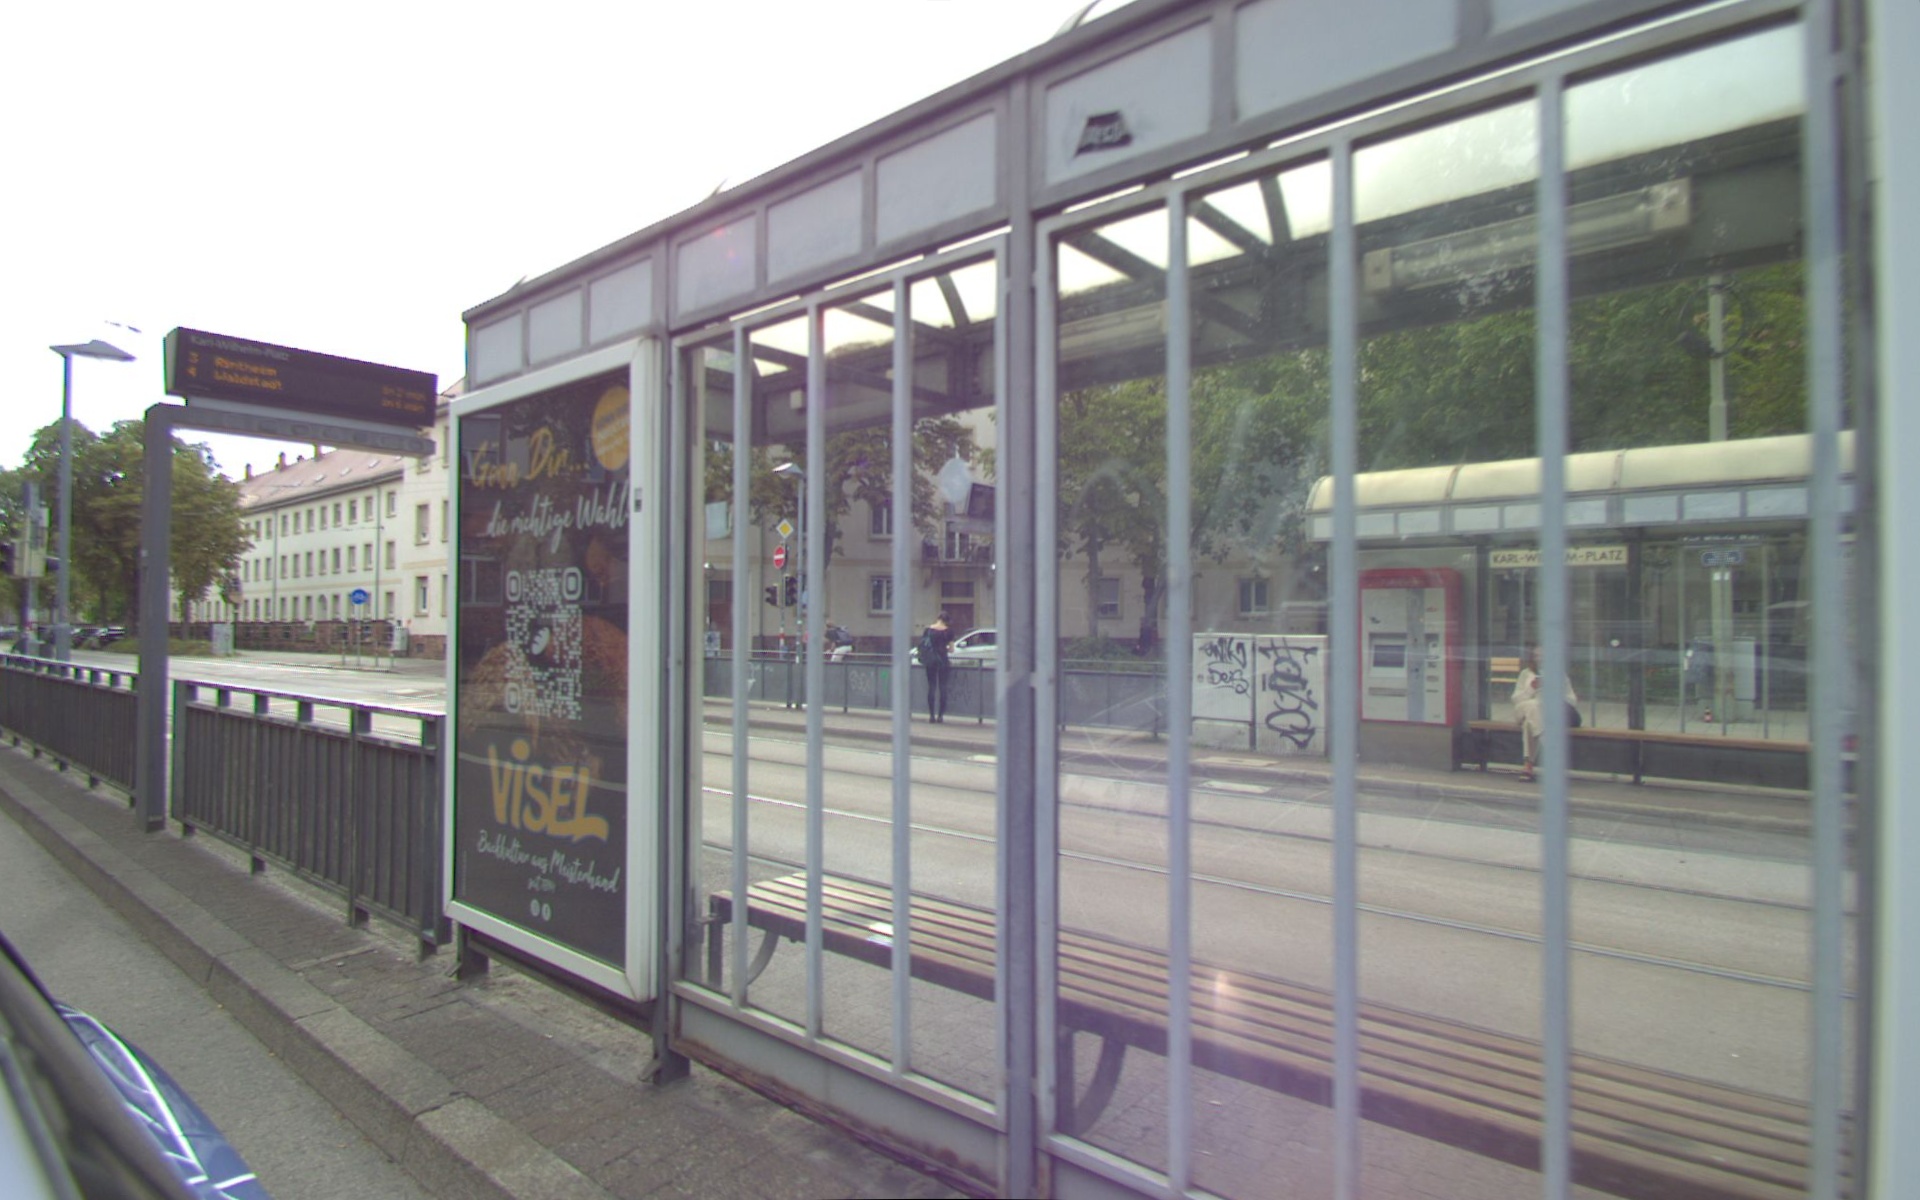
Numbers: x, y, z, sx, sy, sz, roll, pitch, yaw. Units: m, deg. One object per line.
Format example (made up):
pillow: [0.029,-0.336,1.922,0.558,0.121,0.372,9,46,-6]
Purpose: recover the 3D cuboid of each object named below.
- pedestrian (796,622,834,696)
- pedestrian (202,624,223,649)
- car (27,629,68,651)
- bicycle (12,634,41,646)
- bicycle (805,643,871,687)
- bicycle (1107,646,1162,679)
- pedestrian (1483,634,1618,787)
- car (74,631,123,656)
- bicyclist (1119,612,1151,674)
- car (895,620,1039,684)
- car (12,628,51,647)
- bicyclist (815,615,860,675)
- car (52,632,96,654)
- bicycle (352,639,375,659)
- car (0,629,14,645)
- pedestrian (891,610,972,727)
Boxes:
pedestrian: [-3.877,1.559,27.023,0.720,1.915,0.838,1,-3,-31]
pedestrian: [-45.715,2.219,61.902,0.731,1.524,0.825,-1,-3,35]
car: [-69.359,3.037,76.908,4.297,1.624,1.767,-2,-3,41]
bicycle: [-79.567,3.409,86.286,0.671,0.978,1.654,-1,-2,31]
bicycle: [-2.841,1.493,23.443,1.549,0.956,0.654,-1,-2,41]
bicycle: [5.180,1.841,30.013,1.561,0.944,0.605,0,-2,13]
pedestrian: [5.484,0.971,9.382,0.984,1.303,1.049,-1,-2,35]
car: [-54.493,2.725,64.011,4.297,1.434,1.679,-2,0,41]
bicyclist: [5.195,1.271,30.032,0.902,1.789,0.610,0,-2,13]
car: [0.170,1.580,30.958,4.092,1.734,1.845,3,-1,-9]
car: [-76.149,3.068,82.969,4.294,1.482,1.680,-1,-3,39]
bicyclist: [-2.839,1.038,23.461,0.835,1.350,0.654,-1,-2,41]
car: [-60.677,2.943,69.301,4.297,1.434,1.679,-2,-1,41]
bicycle: [-29.313,2.397,49.720,1.671,0.922,0.472,-2,-3,41]
car: [-90.873,3.499,95.564,4.294,1.481,1.680,-1,-2,39]
pedestrian: [-0.417,0.974,14.748,0.841,1.633,0.844,-1,-2,35]
